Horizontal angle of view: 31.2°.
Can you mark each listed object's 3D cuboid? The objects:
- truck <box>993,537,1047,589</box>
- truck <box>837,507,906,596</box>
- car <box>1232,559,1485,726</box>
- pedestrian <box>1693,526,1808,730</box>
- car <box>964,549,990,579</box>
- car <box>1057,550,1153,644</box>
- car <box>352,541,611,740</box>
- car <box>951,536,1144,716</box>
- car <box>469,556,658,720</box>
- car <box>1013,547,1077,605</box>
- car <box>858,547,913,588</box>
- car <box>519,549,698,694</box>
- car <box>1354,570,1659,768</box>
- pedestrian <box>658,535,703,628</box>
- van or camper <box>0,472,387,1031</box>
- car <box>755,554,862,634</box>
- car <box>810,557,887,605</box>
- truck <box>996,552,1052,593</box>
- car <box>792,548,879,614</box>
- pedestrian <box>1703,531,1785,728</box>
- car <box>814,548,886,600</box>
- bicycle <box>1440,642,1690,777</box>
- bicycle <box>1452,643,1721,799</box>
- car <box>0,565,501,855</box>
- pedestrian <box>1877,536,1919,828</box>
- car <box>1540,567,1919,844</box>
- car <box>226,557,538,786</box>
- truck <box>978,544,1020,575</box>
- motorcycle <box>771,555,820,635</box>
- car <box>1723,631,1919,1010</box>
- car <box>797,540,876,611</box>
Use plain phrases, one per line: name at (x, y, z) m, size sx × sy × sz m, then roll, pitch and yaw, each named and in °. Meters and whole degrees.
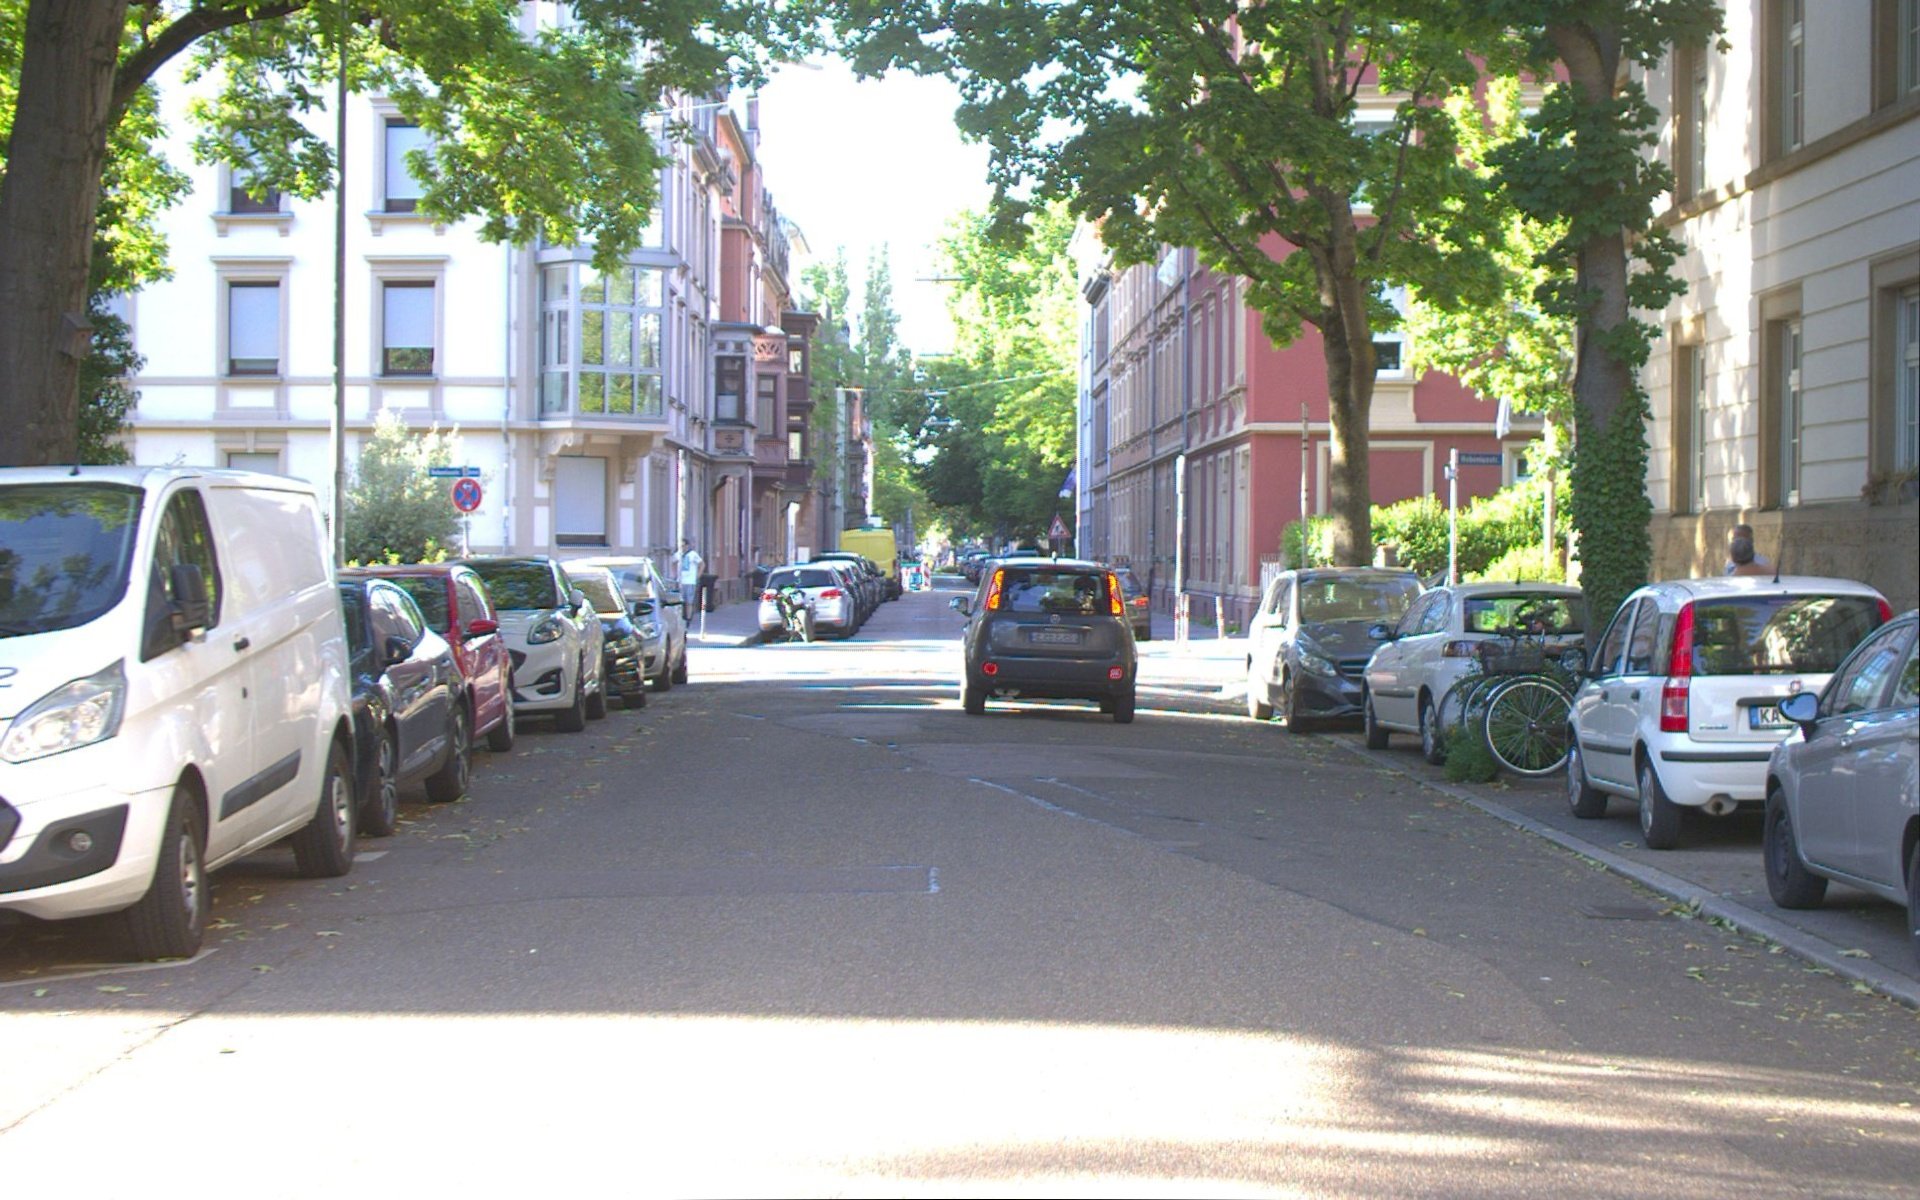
truck at (2.317, -1.448, 133.739) m, size 1.993 × 1.985 × 4.000 m, roll 0°, pitch 1°, yaw 0°
truck at (-3.071, -1.699, 120.059) m, size 2.070 × 2.916 × 5.068 m, roll -3°, pitch 1°, yaw 1°
car at (3.901, 0.374, 34.338) m, size 1.789 × 1.545 × 4.410 m, roll 1°, pitch 1°, yaw -3°
pedestrian at (6.724, 0.229, 29.280) m, size 0.778 × 1.688 × 0.874 m, roll 1°, pitch 1°, yaw 3°
car at (0.921, -1.987, 187.554) m, size 1.367 × 1.612 × 3.413 m, roll 0°, pitch 1°, yaw 1°
car at (2.709, -0.077, 64.965) m, size 1.663 × 1.663 × 3.757 m, roll 1°, pitch 1°, yaw 1°
car at (-4.200, 0.310, 30.752) m, size 1.824 × 1.548 × 4.134 m, roll -3°, pitch 1°, yaw -2°
car at (0.801, 0.208, 33.272) m, size 1.632 × 1.544 × 3.265 m, roll 2°, pitch 2°, yaw -2°
car at (-4.077, 0.336, 35.657) m, size 1.746 × 1.469 × 4.465 m, roll -4°, pitch 1°, yaw -6°
car at (2.312, -0.674, 94.136) m, size 1.663 × 1.500 × 3.757 m, roll 1°, pitch 1°, yaw 1°
car at (-2.922, -1.278, 135.332) m, size 1.962 × 1.474 × 3.925 m, roll -3°, pitch 1°, yaw 1°
car at (-4.117, 0.215, 40.758) m, size 1.696 × 1.545 × 3.919 m, roll -3°, pitch 1°, yaw -1°
car at (4.403, 0.512, 28.234) m, size 1.610 × 1.473 × 3.871 m, roll 0°, pitch 1°, yaw -4°
pedestrian at (-5.583, -0.370, 68.768) m, size 0.723 × 1.833 × 0.626 m, roll 2°, pitch 1°, yaw 11°
van or camper at (-3.910, 0.539, 14.995) m, size 1.921 × 1.973 × 5.462 m, roll -3°, pitch 1°, yaw -1°
car at (-2.945, -0.139, 67.454) m, size 1.797 × 1.427 × 3.925 m, roll -3°, pitch 1°, yaw 1°
car at (-3.173, -0.566, 98.308) m, size 1.962 × 1.220 × 3.925 m, roll -3°, pitch 1°, yaw 1°
truck at (2.376, -1.039, 128.362) m, size 1.993 × 1.451 × 4.000 m, roll 0°, pitch 1°, yaw 0°
car at (-3.014, -0.482, 83.859) m, size 1.828 × 1.474 × 3.925 m, roll -3°, pitch 1°, yaw 1°
pedestrian at (6.869, 0.247, 30.143) m, size 0.489 × 1.700 × 0.757 m, roll 1°, pitch 1°, yaw -1°
car at (-3.378, -0.823, 105.961) m, size 1.962 × 1.474 × 3.925 m, roll -3°, pitch 1°, yaw 1°
bicycle at (4.461, 0.804, 25.433) m, size 1.715 × 0.946 × 0.733 m, roll -1°, pitch 1°, yaw 0°
bicycle at (4.400, 0.846, 24.211) m, size 1.769 × 1.036 × 0.606 m, roll 1°, pitch 1°, yaw 0°
car at (-4.069, 0.559, 20.513) m, size 2.001 × 1.452 × 4.606 m, roll -2°, pitch 1°, yaw 0°
pedestrian at (5.919, 0.481, 20.794) m, size 0.520 × 1.729 × 0.878 m, roll 0°, pitch 1°, yaw 1°
car at (4.546, 0.562, 20.683) m, size 1.520 × 1.505 × 3.544 m, roll 0°, pitch 1°, yaw 0°
car at (-4.183, 0.462, 25.416) m, size 1.601 × 1.455 × 4.028 m, roll -3°, pitch 1°, yaw -1°
truck at (1.906, -1.985, 167.933) m, size 1.993 × 1.451 × 4.000 m, roll 0°, pitch 1°, yaw 0°
motorcycle at (-3.074, -0.111, 64.157) m, size 0.696 × 1.455 × 1.751 m, roll -1°, pitch 1°, yaw -9°
car at (4.543, 0.877, 14.752) m, size 1.622 × 1.389 × 4.157 m, roll 0°, pitch 1°, yaw 0°
car at (-3.171, -0.653, 89.016) m, size 1.775 × 1.693 × 3.925 m, roll -3°, pitch 1°, yaw 1°
